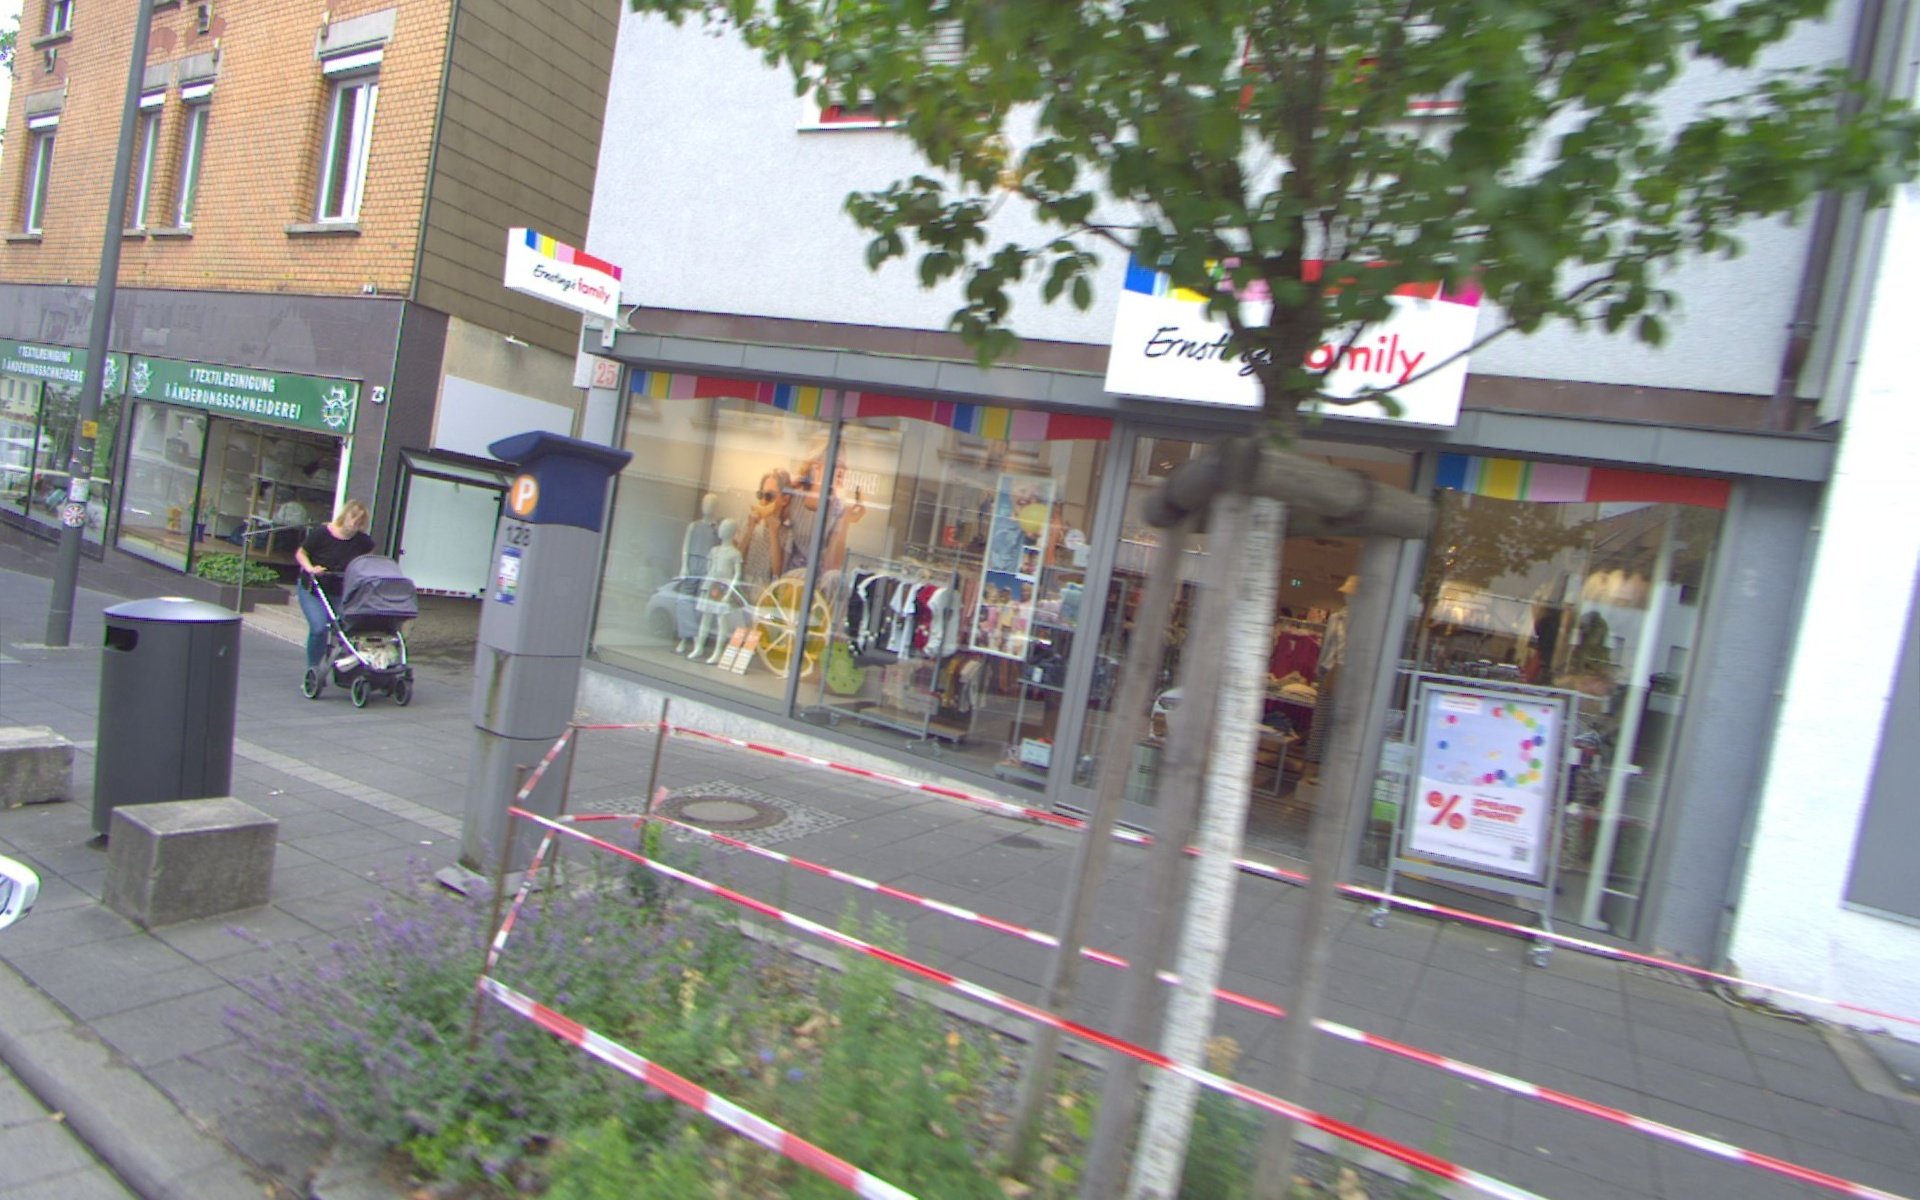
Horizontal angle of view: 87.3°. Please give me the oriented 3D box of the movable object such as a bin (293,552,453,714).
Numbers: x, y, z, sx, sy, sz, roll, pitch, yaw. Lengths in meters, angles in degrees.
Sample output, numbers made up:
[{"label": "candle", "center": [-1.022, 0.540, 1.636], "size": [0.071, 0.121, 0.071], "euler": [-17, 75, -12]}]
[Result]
[{"label": "movable object such as a bin", "center": [-4.795, 0.253, 8.227], "size": [0.891, 1.173, 0.722], "euler": [7, 3, 30]}]

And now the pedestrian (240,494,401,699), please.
[{"label": "pedestrian", "center": [-5.499, -0.041, 8.653], "size": [0.983, 1.606, 0.735], "euler": [7, 3, 30]}]
